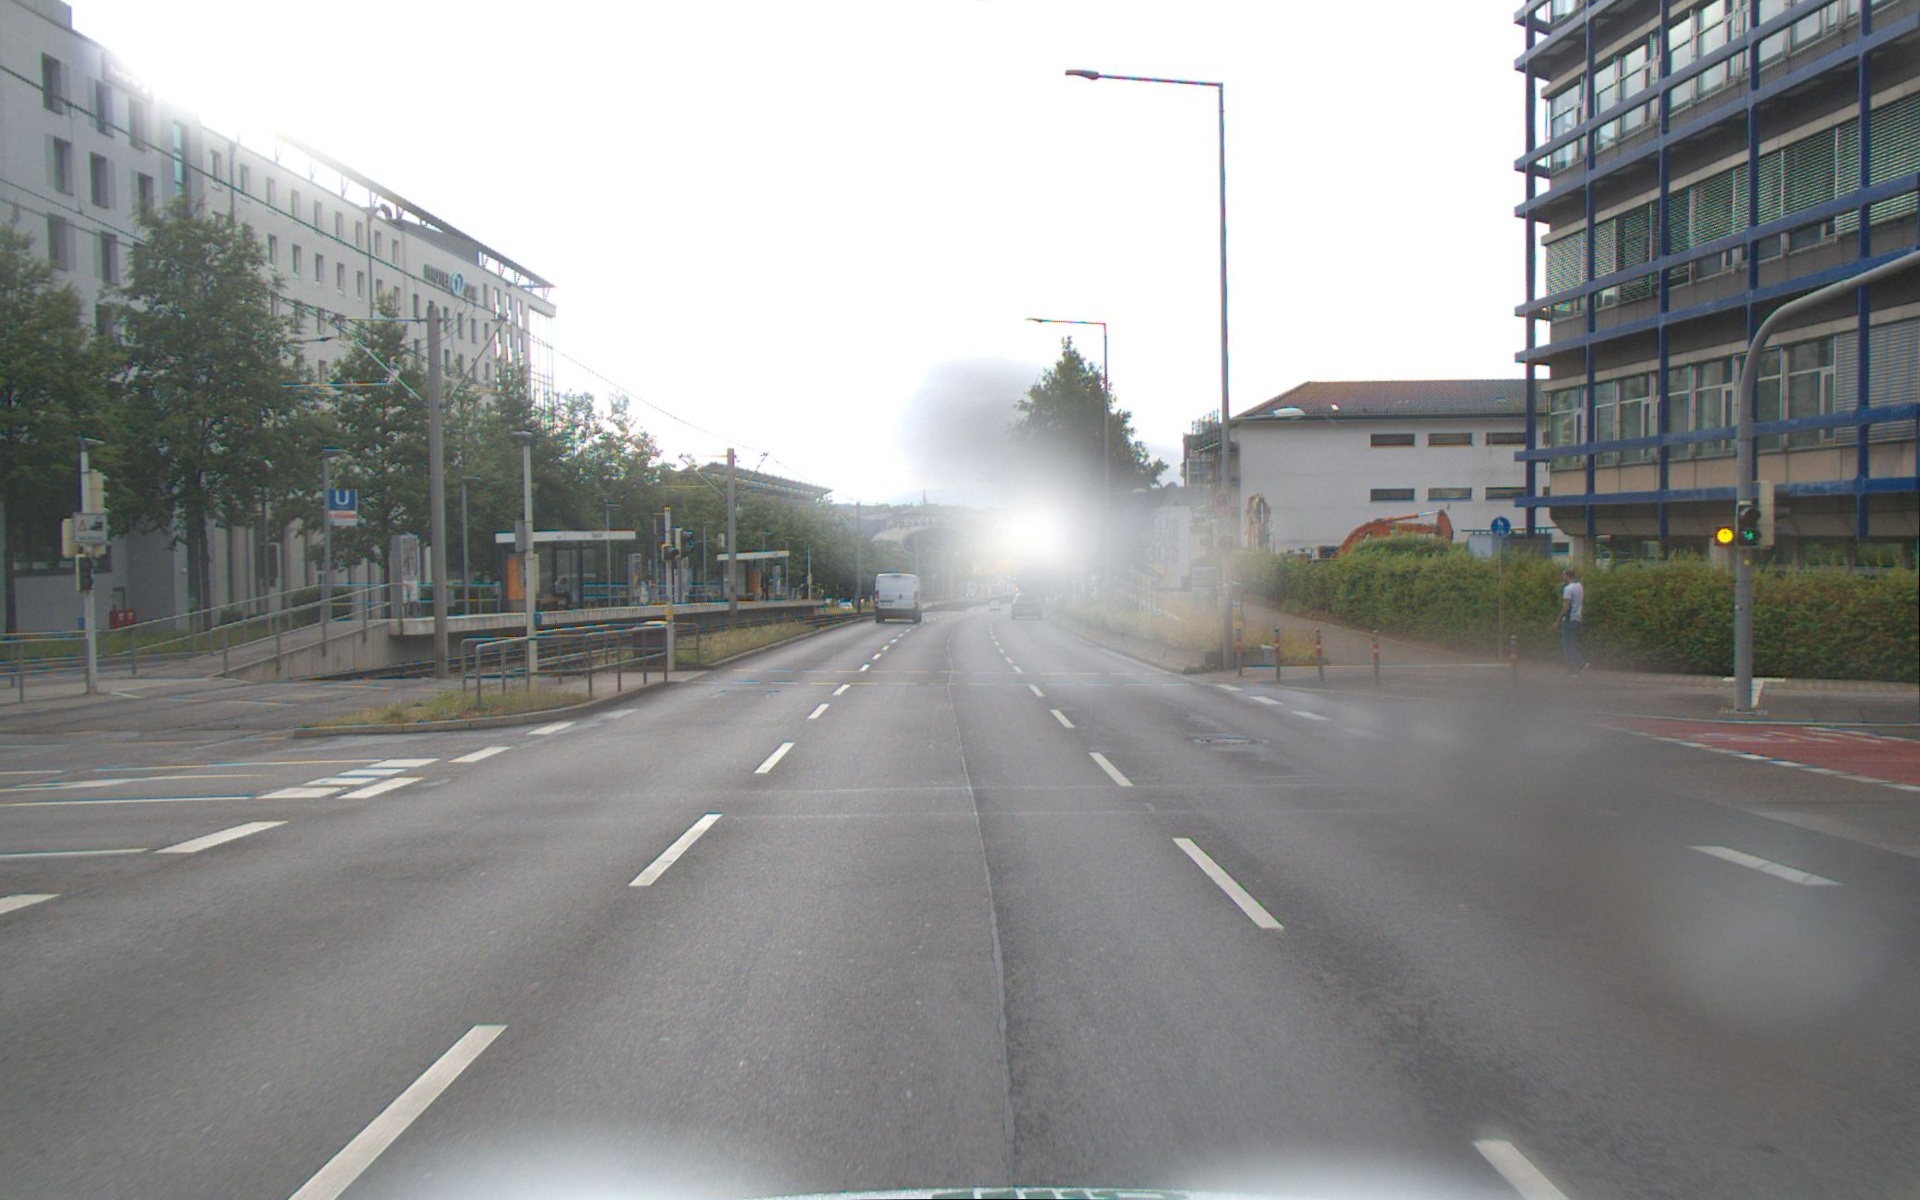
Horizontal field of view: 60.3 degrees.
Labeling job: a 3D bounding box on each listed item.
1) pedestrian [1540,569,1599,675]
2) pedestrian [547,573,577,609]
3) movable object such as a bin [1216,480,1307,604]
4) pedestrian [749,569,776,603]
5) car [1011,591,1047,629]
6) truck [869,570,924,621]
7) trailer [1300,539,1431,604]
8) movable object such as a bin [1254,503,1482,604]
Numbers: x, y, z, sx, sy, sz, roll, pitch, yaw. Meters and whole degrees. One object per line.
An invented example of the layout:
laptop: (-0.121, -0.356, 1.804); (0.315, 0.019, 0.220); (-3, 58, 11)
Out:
pedestrian: (9.866, 0.349, 26.776); (0.544, 1.681, 0.830); (0, 0, -10)
pedestrian: (-14.922, -0.343, 62.024); (0.941, 1.322, 0.684); (-1, 0, 0)
movable object such as a bin: (14.954, -2.732, 82.668); (3.221, 5.784, 8.766); (1, 0, 2)
pedestrian: (-12.156, -0.830, 101.671); (1.239, 2.049, 1.130); (1, -1, 17)
car: (3.887, 0.553, 92.477); (1.952, 2.049, 3.935); (1, 0, 3)
truck: (-2.957, -0.209, 78.603); (2.311, 2.301, 5.306); (1, 0, 1)
trailer: (20.480, -1.394, 83.971); (2.601, 3.096, 7.448); (1, 0, -22)
movable object such as a bin: (22.935, -2.589, 93.554); (11.892, 5.353, 3.789); (-1, -1, 0)
